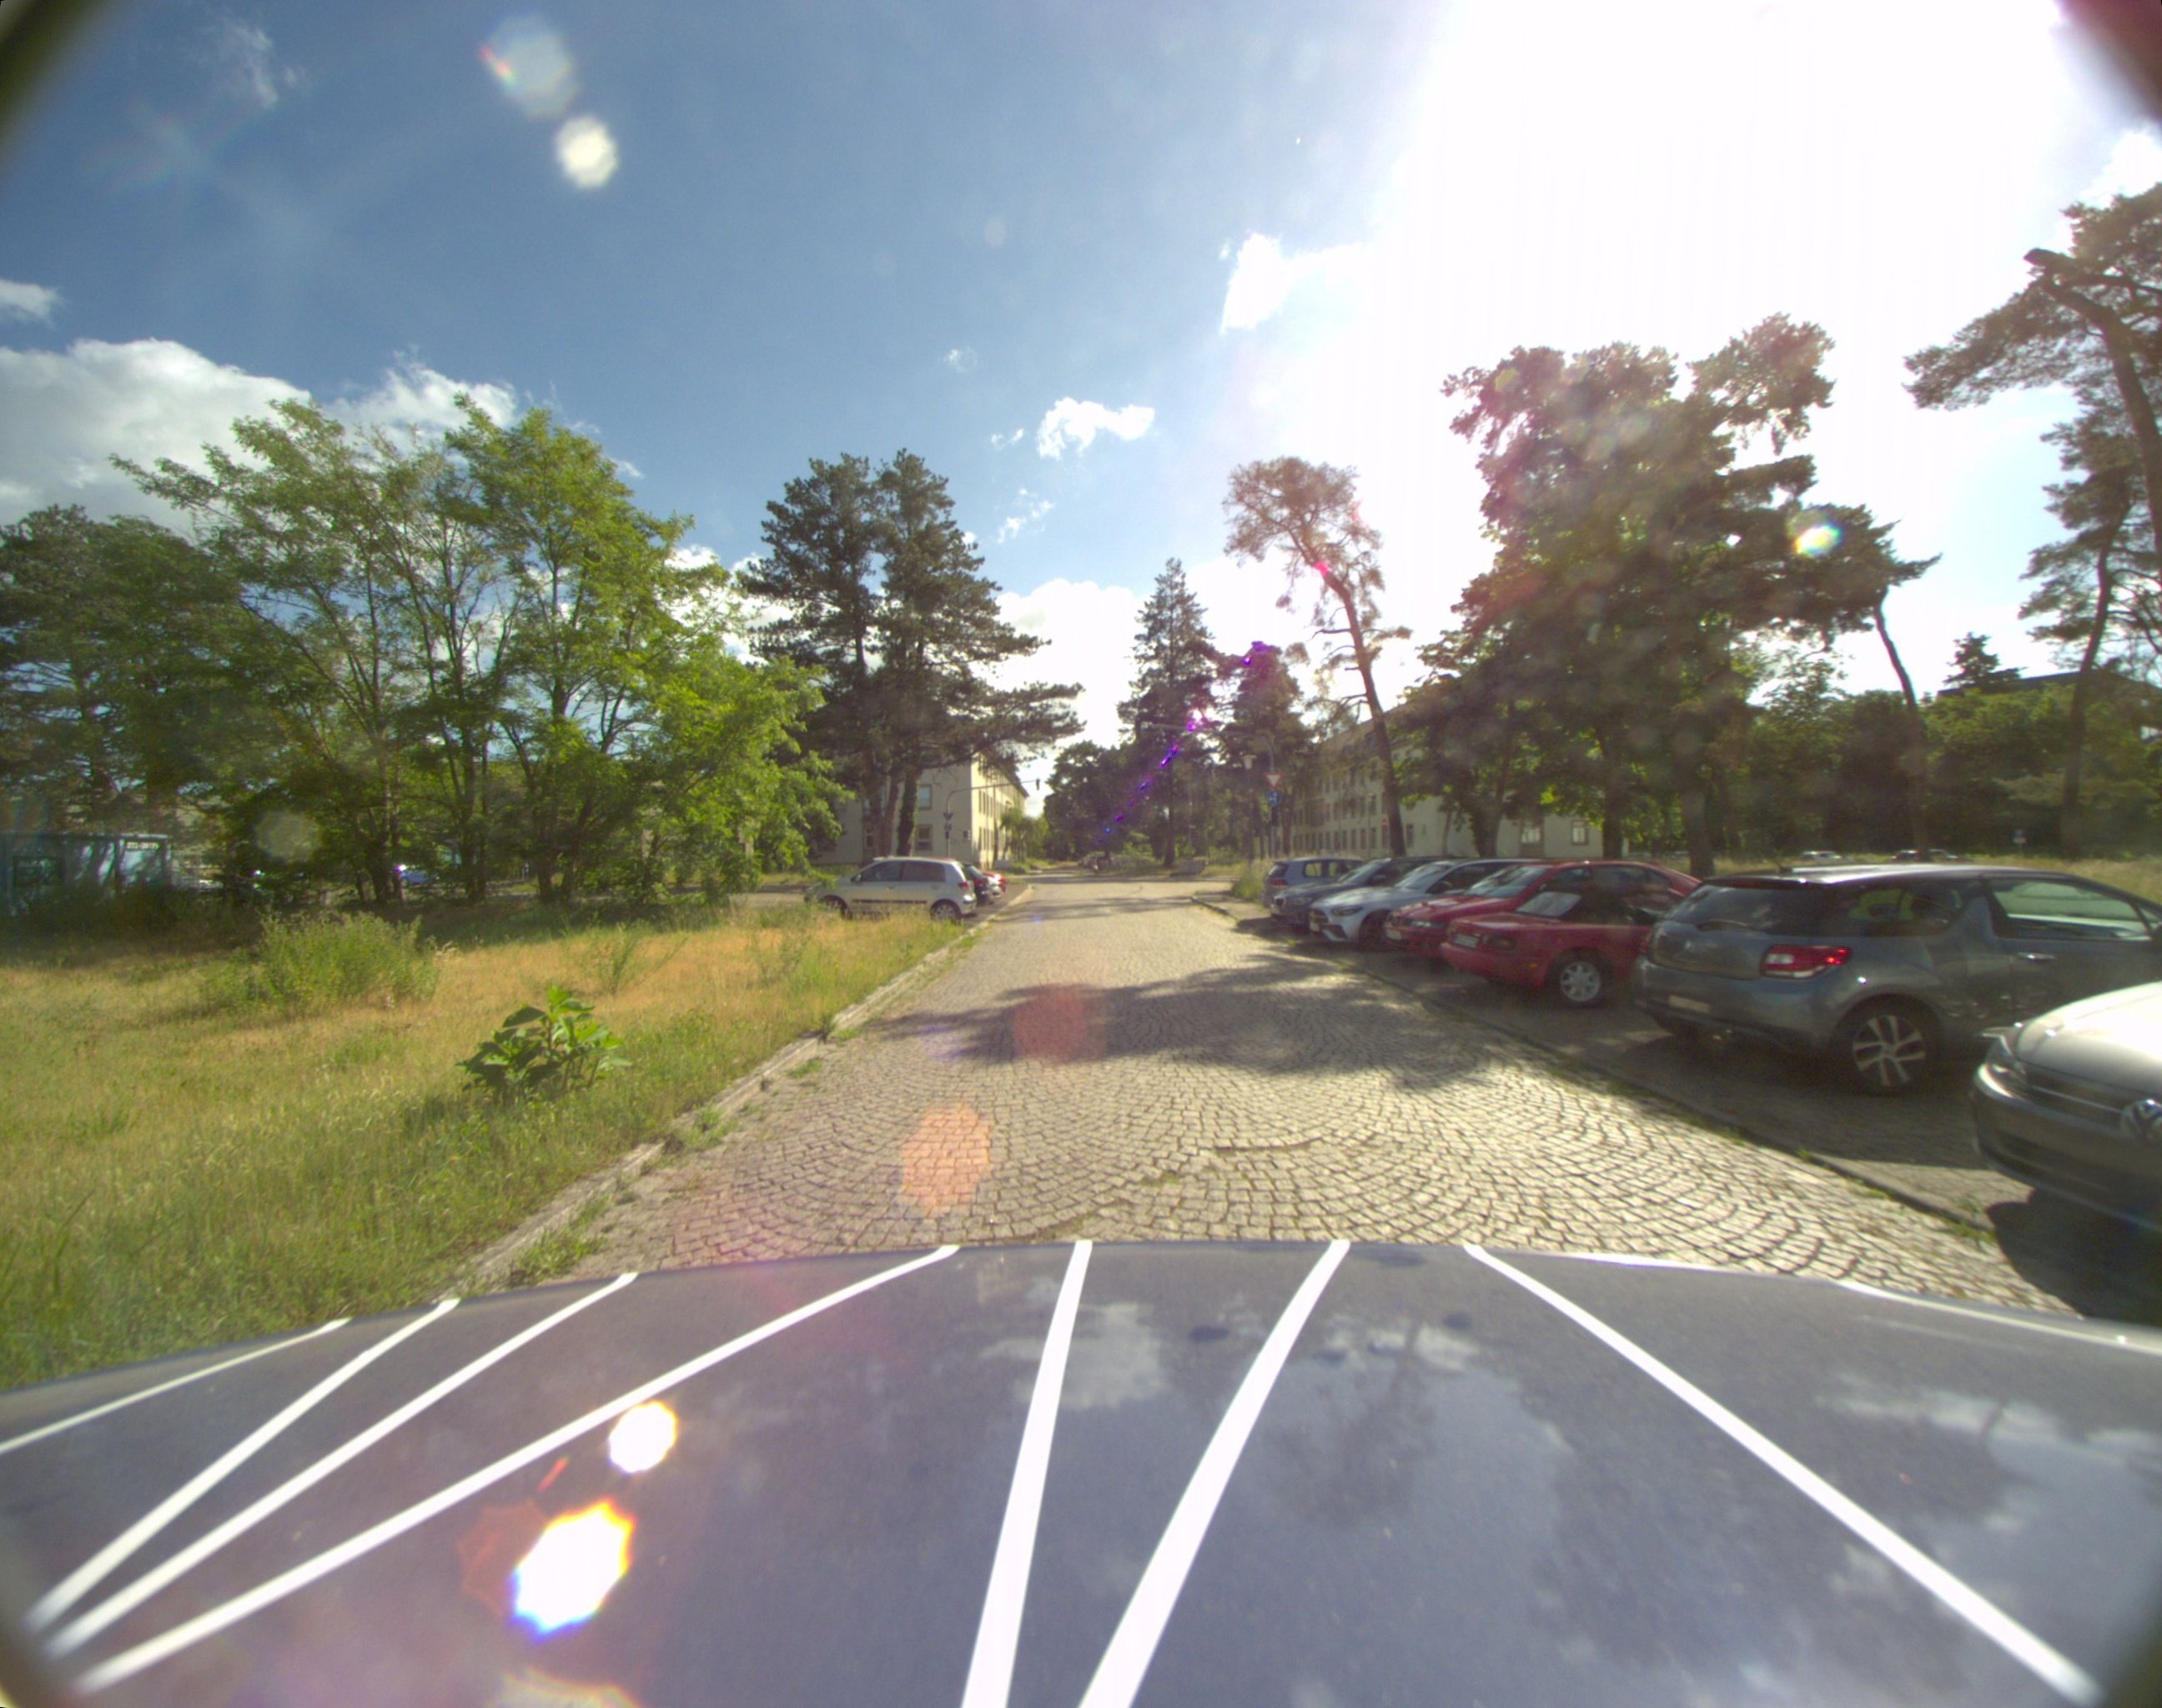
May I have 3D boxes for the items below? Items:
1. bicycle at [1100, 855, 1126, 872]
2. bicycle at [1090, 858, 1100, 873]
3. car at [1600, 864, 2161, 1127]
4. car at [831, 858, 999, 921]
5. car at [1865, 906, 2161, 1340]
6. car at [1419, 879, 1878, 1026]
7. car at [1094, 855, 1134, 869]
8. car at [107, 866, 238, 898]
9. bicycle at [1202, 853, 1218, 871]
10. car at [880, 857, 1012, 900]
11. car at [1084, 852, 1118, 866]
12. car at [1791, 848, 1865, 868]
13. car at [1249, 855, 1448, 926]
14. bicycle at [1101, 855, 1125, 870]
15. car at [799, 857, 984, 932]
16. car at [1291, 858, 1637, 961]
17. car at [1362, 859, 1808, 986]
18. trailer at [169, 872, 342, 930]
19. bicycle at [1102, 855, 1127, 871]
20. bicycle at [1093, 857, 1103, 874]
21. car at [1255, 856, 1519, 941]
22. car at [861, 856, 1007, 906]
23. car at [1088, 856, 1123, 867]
[{"bbox_3d":[2.837,0.796,67.003,2.114,1.276,0.621,-6,1,-3],"label":"bicycle"},{"bbox_3d":[1.243,0.971,65.837,0.621,1.276,2.114,-2,1,-4],"label":"bicycle"},{"bbox_3d":[6.476,0.887,5.553,4.087,1.444,1.821,-2,1,1],"label":"car"},{"bbox_3d":[-4.280,0.895,20.077,4.015,1.432,1.844,2,0,-2],"label":"car"},{"bbox_3d":[5.824,0.938,2.670,4.087,1.417,1.923,-2,0,1],"label":"car"},{"bbox_3d":[5.873,0.986,8.225,3.639,1.227,1.759,-2,1,1],"label":"car"},{"bbox_3d":[3.531,0.832,81.859,4.045,1.514,1.816,0,1,-8],"label":"car"},{"bbox_3d":[-42.108,1.301,35.277,3.997,1.413,1.746,-1,-1,0],"label":"car"},{"bbox_3d":[9.229,0.567,54.443,0.621,1.276,2.114,-4,0,-2],"label":"bicycle"},{"bbox_3d":[-4.906,0.877,28.122,4.548,1.413,1.894,2,1,-1],"label":"car"},{"bbox_3d":[2.578,0.645,99.210,4.227,1.903,1.816,0,1,-10],"label":"car"},{"bbox_3d":[59.329,0.282,60.357,4.105,1.571,1.720,0,1,2],"label":"car"},{"bbox_3d":[6.301,0.825,18.218,4.037,1.474,1.949,-2,0,-2],"label":"car"},{"bbox_3d":[2.947,0.819,70.083,2.114,1.276,0.621,-2,1,-6],"label":"bicycle"},{"bbox_3d":[-4.205,0.885,17.332,3.750,1.468,1.751,2,1,-2],"label":"car"},{"bbox_3d":[6.267,0.872,12.878,4.877,1.413,1.938,-2,1,0],"label":"car"},{"bbox_3d":[6.697,0.872,10.534,4.877,1.412,1.938,-2,1,0],"label":"car"},{"bbox_3d":[-17.510,0.975,16.179,2.405,1.099,1.035,-2,1,-4],"label":"trailer"},{"bbox_3d":[3.064,0.813,69.255,2.114,1.276,0.621,-2,1,-6],"label":"bicycle"},{"bbox_3d":[1.401,0.923,63.662,0.621,1.342,2.114,-2,1,-4],"label":"bicycle"},{"bbox_3d":[6.134,0.851,15.598,4.594,1.443,1.983,-2,1,-3],"label":"car"},{"bbox_3d":[-4.792,0.879,25.309,4.525,1.456,1.838,2,1,-3],"label":"car"},{"bbox_3d":[3.027,0.934,93.594,4.044,1.355,1.817,0,1,-7],"label":"car"}]
